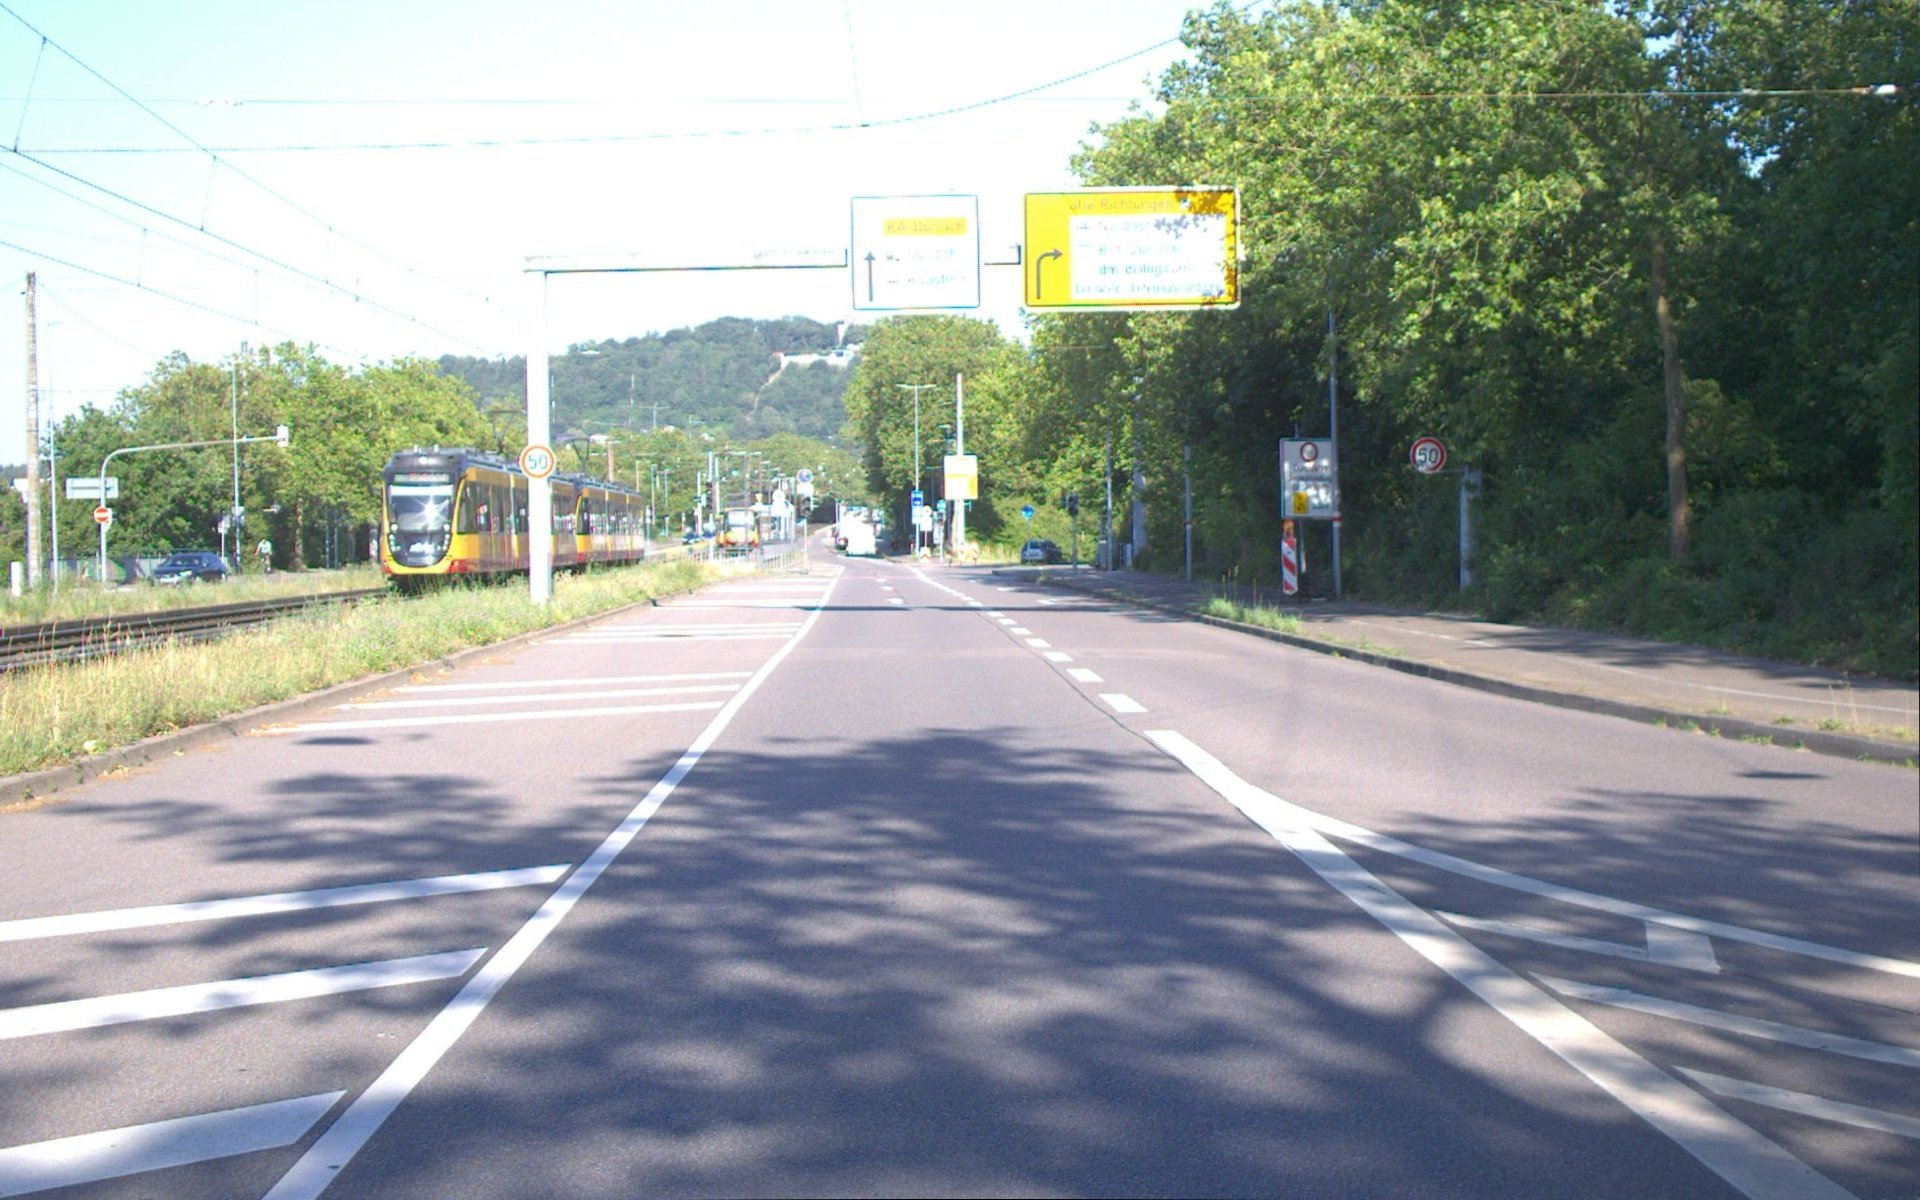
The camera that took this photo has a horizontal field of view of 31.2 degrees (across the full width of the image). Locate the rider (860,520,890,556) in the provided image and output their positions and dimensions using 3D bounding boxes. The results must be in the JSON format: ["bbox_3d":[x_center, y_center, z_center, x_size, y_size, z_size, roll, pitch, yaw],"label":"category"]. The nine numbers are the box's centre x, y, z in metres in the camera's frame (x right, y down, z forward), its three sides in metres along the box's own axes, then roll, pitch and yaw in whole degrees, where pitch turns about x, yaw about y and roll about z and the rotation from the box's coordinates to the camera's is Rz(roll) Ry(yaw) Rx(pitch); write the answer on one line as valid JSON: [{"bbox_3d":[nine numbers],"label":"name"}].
[{"bbox_3d":[-6.225,-4.586,252.630,2.109,2.638,0.736,0,1,4],"label":"rider"}]

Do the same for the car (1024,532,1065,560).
[{"bbox_3d":[4.773,-3.039,193.836,2.087,1.560,3.955,1,1,5],"label":"car"}]

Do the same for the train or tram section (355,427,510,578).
[{"bbox_3d":[-14.497,-2.647,95.419,2.804,3.889,12.334,0,1,-2],"label":"train or tram section"}]

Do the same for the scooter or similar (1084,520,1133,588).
[{"bbox_3d":[5.961,-1.870,138.348,1.681,2.706,4.869,0,1,-1],"label":"scooter or similar"}]
